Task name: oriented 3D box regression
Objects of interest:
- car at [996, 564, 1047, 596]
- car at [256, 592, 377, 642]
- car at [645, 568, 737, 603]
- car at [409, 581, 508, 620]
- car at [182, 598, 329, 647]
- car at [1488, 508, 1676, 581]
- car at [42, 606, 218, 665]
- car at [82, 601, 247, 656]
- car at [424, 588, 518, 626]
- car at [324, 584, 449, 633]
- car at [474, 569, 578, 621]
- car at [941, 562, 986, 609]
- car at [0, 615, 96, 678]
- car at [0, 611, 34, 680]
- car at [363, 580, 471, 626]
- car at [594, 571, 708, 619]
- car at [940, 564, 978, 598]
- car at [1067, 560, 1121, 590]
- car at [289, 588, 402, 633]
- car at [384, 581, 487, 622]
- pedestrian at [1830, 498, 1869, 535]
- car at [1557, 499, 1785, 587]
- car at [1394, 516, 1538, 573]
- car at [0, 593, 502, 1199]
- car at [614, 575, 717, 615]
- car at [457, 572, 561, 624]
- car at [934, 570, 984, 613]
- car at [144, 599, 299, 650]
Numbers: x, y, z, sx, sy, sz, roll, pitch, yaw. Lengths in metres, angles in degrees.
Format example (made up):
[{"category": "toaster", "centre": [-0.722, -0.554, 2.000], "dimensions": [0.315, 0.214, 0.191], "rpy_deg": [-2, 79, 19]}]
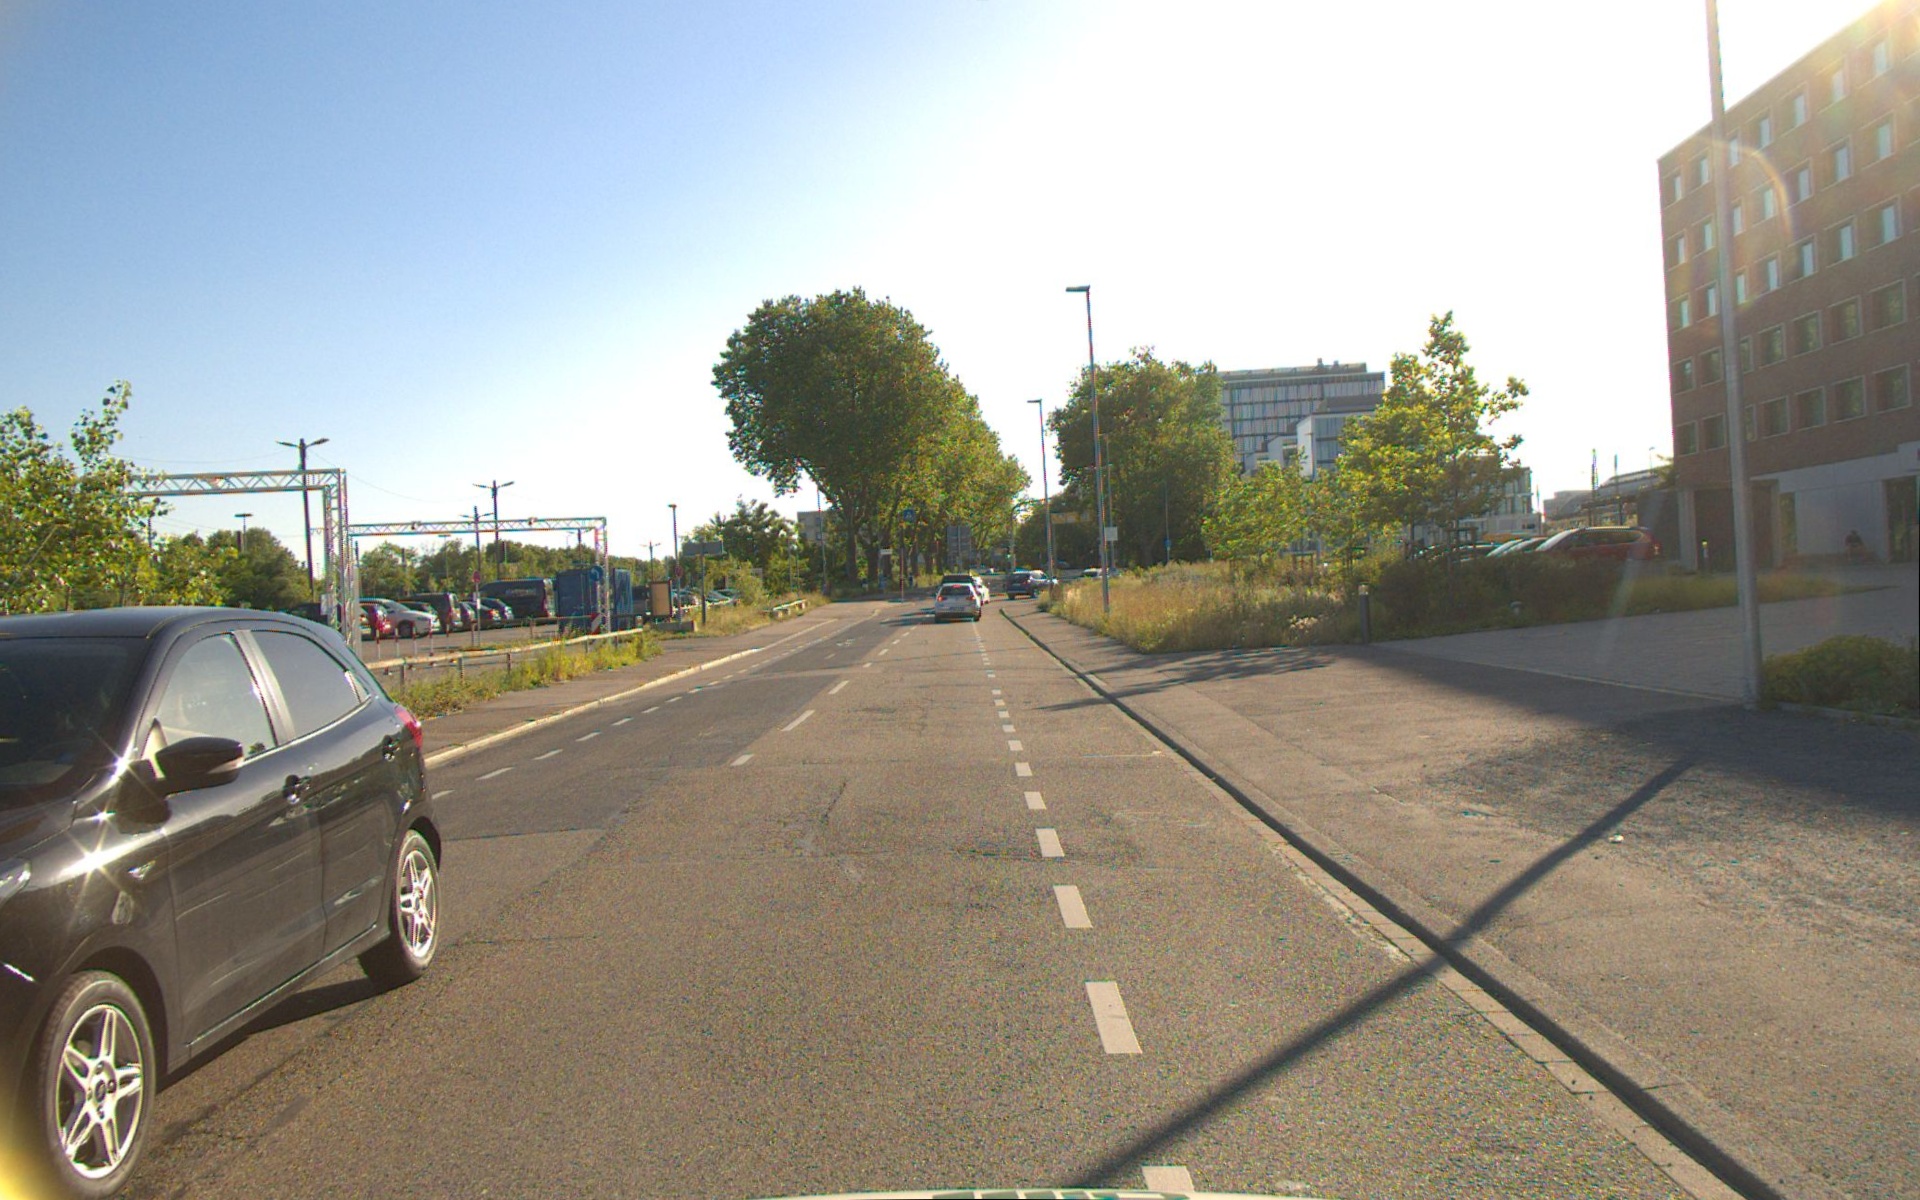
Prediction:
[{"category": "car", "centre": [3.623, -1.188, 96.332], "dimensions": [2.117, 1.713, 4.004], "rpy_deg": [-3, 1, 14]}, {"category": "car", "centre": [-24.543, 0.651, 63.170], "dimensions": [3.804, 1.631, 1.878], "rpy_deg": [-3, 1, -1]}, {"category": "car", "centre": [-14.100, -0.786, 86.950], "dimensions": [4.450, 1.584, 1.878], "rpy_deg": [-3, 1, -1]}, {"category": "car", "centre": [-24.642, 0.025, 81.383], "dimensions": [4.234, 1.646, 1.878], "rpy_deg": [-3, 1, -1]}, {"category": "car", "centre": [-24.566, 0.783, 57.747], "dimensions": [4.234, 1.400, 1.878], "rpy_deg": [-3, 1, -1]}, {"category": "car", "centre": [15.972, -1.411, 42.628], "dimensions": [4.097, 1.608, 1.853], "rpy_deg": [-3, 1, 3]}, {"category": "car", "centre": [-24.818, 1.038, 49.572], "dimensions": [4.234, 1.444, 1.878], "rpy_deg": [-3, 1, -1]}, {"category": "car", "centre": [-25.162, 0.885, 52.445], "dimensions": [4.234, 1.444, 1.878], "rpy_deg": [-3, 1, -1]}, {"category": "car", "centre": [-24.784, 0.366, 83.964], "dimensions": [4.122, 1.646, 1.878], "rpy_deg": [-3, 1, -1]}, {"category": "car", "centre": [-24.397, 0.361, 70.427], "dimensions": [4.484, 1.771, 2.059], "rpy_deg": [-3, 1, 4]}, {"category": "car", "centre": [-24.029, -0.295, 91.677], "dimensions": [4.993, 2.502, 2.320], "rpy_deg": [-3, 1, -1]}, {"category": "car", "centre": [0.175, -0.640, 70.371], "dimensions": [1.782, 1.799, 4.630], "rpy_deg": [-3, 2, 1]}, {"category": "car", "centre": [-24.411, 1.228, 41.665], "dimensions": [4.233, 1.417, 1.879], "rpy_deg": [-3, 1, 1]}, {"category": "car", "centre": [-24.561, 1.192, 39.072], "dimensions": [4.233, 1.550, 1.879], "rpy_deg": [-3, 1, 1]}, {"category": "car", "centre": [-24.960, 0.136, 76.122], "dimensions": [4.234, 1.822, 1.878], "rpy_deg": [-3, 1, -1]}, {"category": "car", "centre": [-14.103, -0.236, 75.756], "dimensions": [4.747, 1.866, 2.000], "rpy_deg": [-3, 1, -1]}, {"category": "car", "centre": [-0.058, -1.019, 86.223], "dimensions": [1.860, 1.623, 4.000], "rpy_deg": [-3, 1, 0]}, {"category": "car", "centre": [8.429, -1.596, 103.757], "dimensions": [2.120, 1.713, 3.998], "rpy_deg": [-3, 0, 25]}, {"category": "car", "centre": [-25.072, 0.409, 67.565], "dimensions": [3.804, 1.546, 1.878], "rpy_deg": [-3, 1, -1]}, {"category": "car", "centre": [-24.986, 0.056, 78.854], "dimensions": [4.234, 1.646, 1.878], "rpy_deg": [-3, 1, -1]}, {"category": "pedestrian", "centre": [34.184, -3.198, 63.567], "dimensions": [0.910, 1.332, 1.010], "rpy_deg": [-3, 1, 1]}, {"category": "car", "centre": [15.303, -1.228, 35.745], "dimensions": [4.097, 1.608, 1.853], "rpy_deg": [-3, 1, 3]}, {"category": "car", "centre": [16.427, -1.799, 53.806], "dimensions": [4.097, 1.608, 1.853], "rpy_deg": [-3, 1, 3]}, {"category": "car", "centre": [-2.901, 0.819, 5.354], "dimensions": [1.620, 1.529, 4.000], "rpy_deg": [-5, 0, 0]}, {"category": "car", "centre": [-13.977, -0.238, 78.735], "dimensions": [4.501, 1.584, 2.000], "rpy_deg": [-3, 1, -1]}, {"category": "car", "centre": [-24.245, -0.138, 89.008], "dimensions": [4.826, 2.502, 2.320], "rpy_deg": [-3, 1, -1]}, {"category": "car", "centre": [-0.019, -0.349, 64.025], "dimensions": [1.753, 1.444, 4.001], "rpy_deg": [-3, 2, 1]}, {"category": "car", "centre": [-24.487, 0.793, 54.952], "dimensions": [4.234, 1.400, 1.878], "rpy_deg": [-3, 1, -1]}]
